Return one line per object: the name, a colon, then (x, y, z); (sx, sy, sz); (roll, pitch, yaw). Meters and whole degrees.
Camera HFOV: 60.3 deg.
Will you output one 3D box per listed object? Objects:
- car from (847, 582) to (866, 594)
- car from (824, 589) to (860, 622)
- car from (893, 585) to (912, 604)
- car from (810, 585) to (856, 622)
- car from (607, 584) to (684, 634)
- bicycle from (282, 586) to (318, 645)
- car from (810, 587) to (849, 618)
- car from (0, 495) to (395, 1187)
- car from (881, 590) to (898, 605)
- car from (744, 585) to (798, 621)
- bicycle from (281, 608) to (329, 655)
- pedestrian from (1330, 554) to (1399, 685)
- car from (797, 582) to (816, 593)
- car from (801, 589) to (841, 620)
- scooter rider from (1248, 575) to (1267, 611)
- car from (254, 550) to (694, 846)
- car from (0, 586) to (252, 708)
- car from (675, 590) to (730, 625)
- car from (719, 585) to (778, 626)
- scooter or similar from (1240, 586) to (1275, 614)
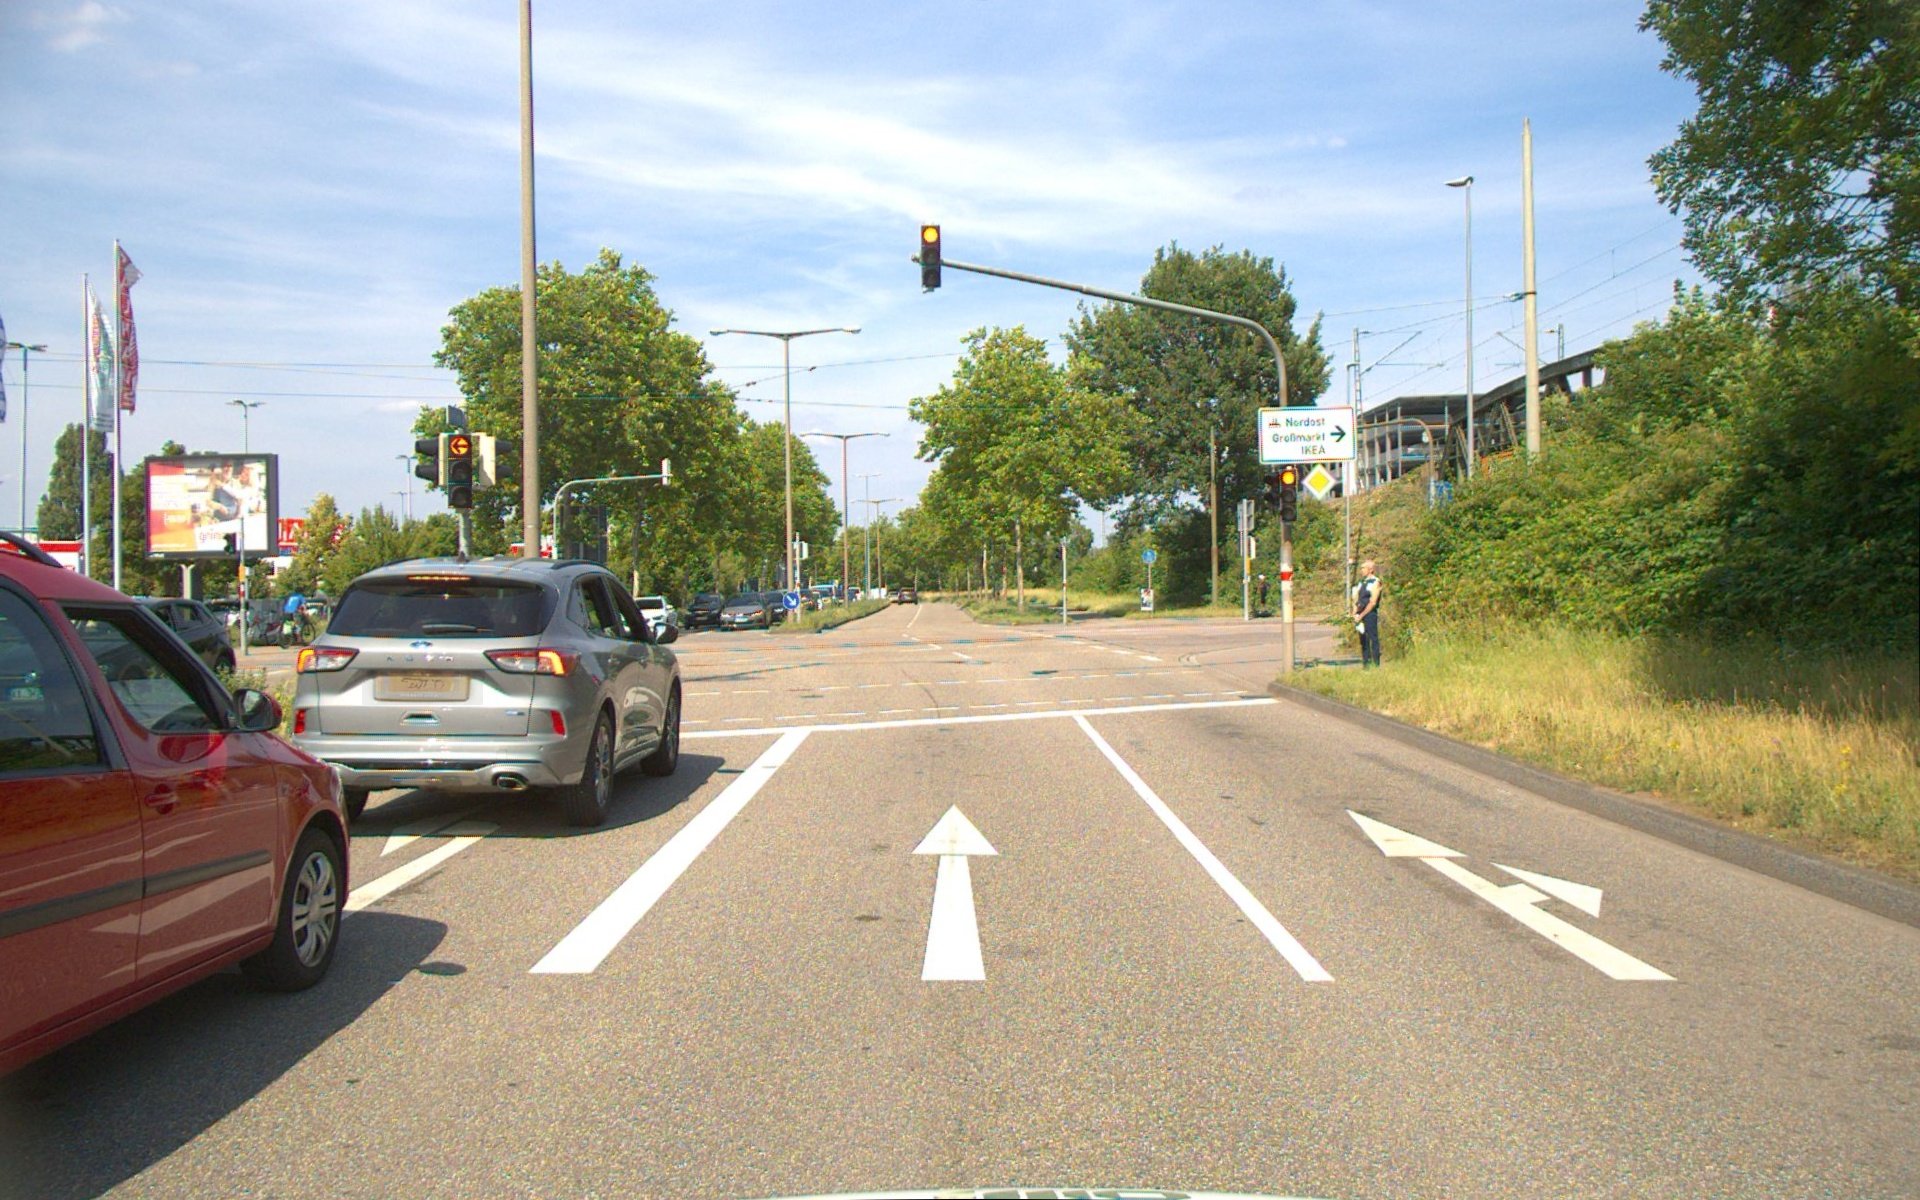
car: (-15.016, -1.762, 240.478); (1.836, 1.724, 4.389); (-1, 1, -16)
car: (-7.289, 0.306, 102.276); (1.953, 1.928, 4.375); (-1, 1, -1)
car: (-5.441, -0.553, 156.981); (1.701, 1.562, 4.001); (0, 3, 0)
car: (-6.207, 0.131, 81.202); (1.953, 1.725, 3.999); (-1, 1, -1)
car: (-10.914, 0.286, 57.687); (1.953, 1.539, 4.000); (-1, 3, -1)
bicycle: (-18.850, 0.440, 47.268); (0.659, 1.643, 0.991); (-2, 0, -6)
car: (-7.596, 0.130, 96.581); (1.953, 1.707, 3.999); (-1, 1, -1)
car: (-3.073, 0.585, 4.743); (1.595, 1.623, 3.917); (-1, -1, -1)
car: (-8.089, -0.305, 189.925); (1.828, 1.724, 4.409); (-1, 1, -1)
car: (-8.380, 0.124, 73.577); (1.953, 1.527, 3.999); (-1, 1, -1)
bicycle: (-18.855, 0.891, 47.623); (0.659, 1.278, 2.244); (-2, 0, -6)
pedestrian: (6.195, 0.283, 25.360); (0.821, 1.966, 0.771); (-1, 2, -4)
car: (-23.974, -1.924, 258.079); (1.839, 1.724, 4.382); (-1, 1, -21)
car: (-7.538, 0.213, 90.027); (1.864, 1.624, 3.999); (-1, 1, -1)
scooter rider: (12.040, -0.286, 66.966); (0.661, 1.453, 0.493); (-1, 0, 4)
car: (-3.068, 0.533, 11.404); (1.843, 1.646, 4.212); (-1, 0, -1)
car: (-10.959, 0.543, 21.626); (1.705, 1.414, 3.999); (-1, 1, -1)
car: (-11.720, 0.323, 75.535); (1.953, 1.539, 3.999); (-1, 1, -1)
car: (-8.436, 0.188, 66.156); (1.880, 1.539, 3.999); (-1, 1, -1)
scooter or similar: (12.034, 0.006, 66.965); (1.315, 1.117, 0.493); (-1, 0, 4)
